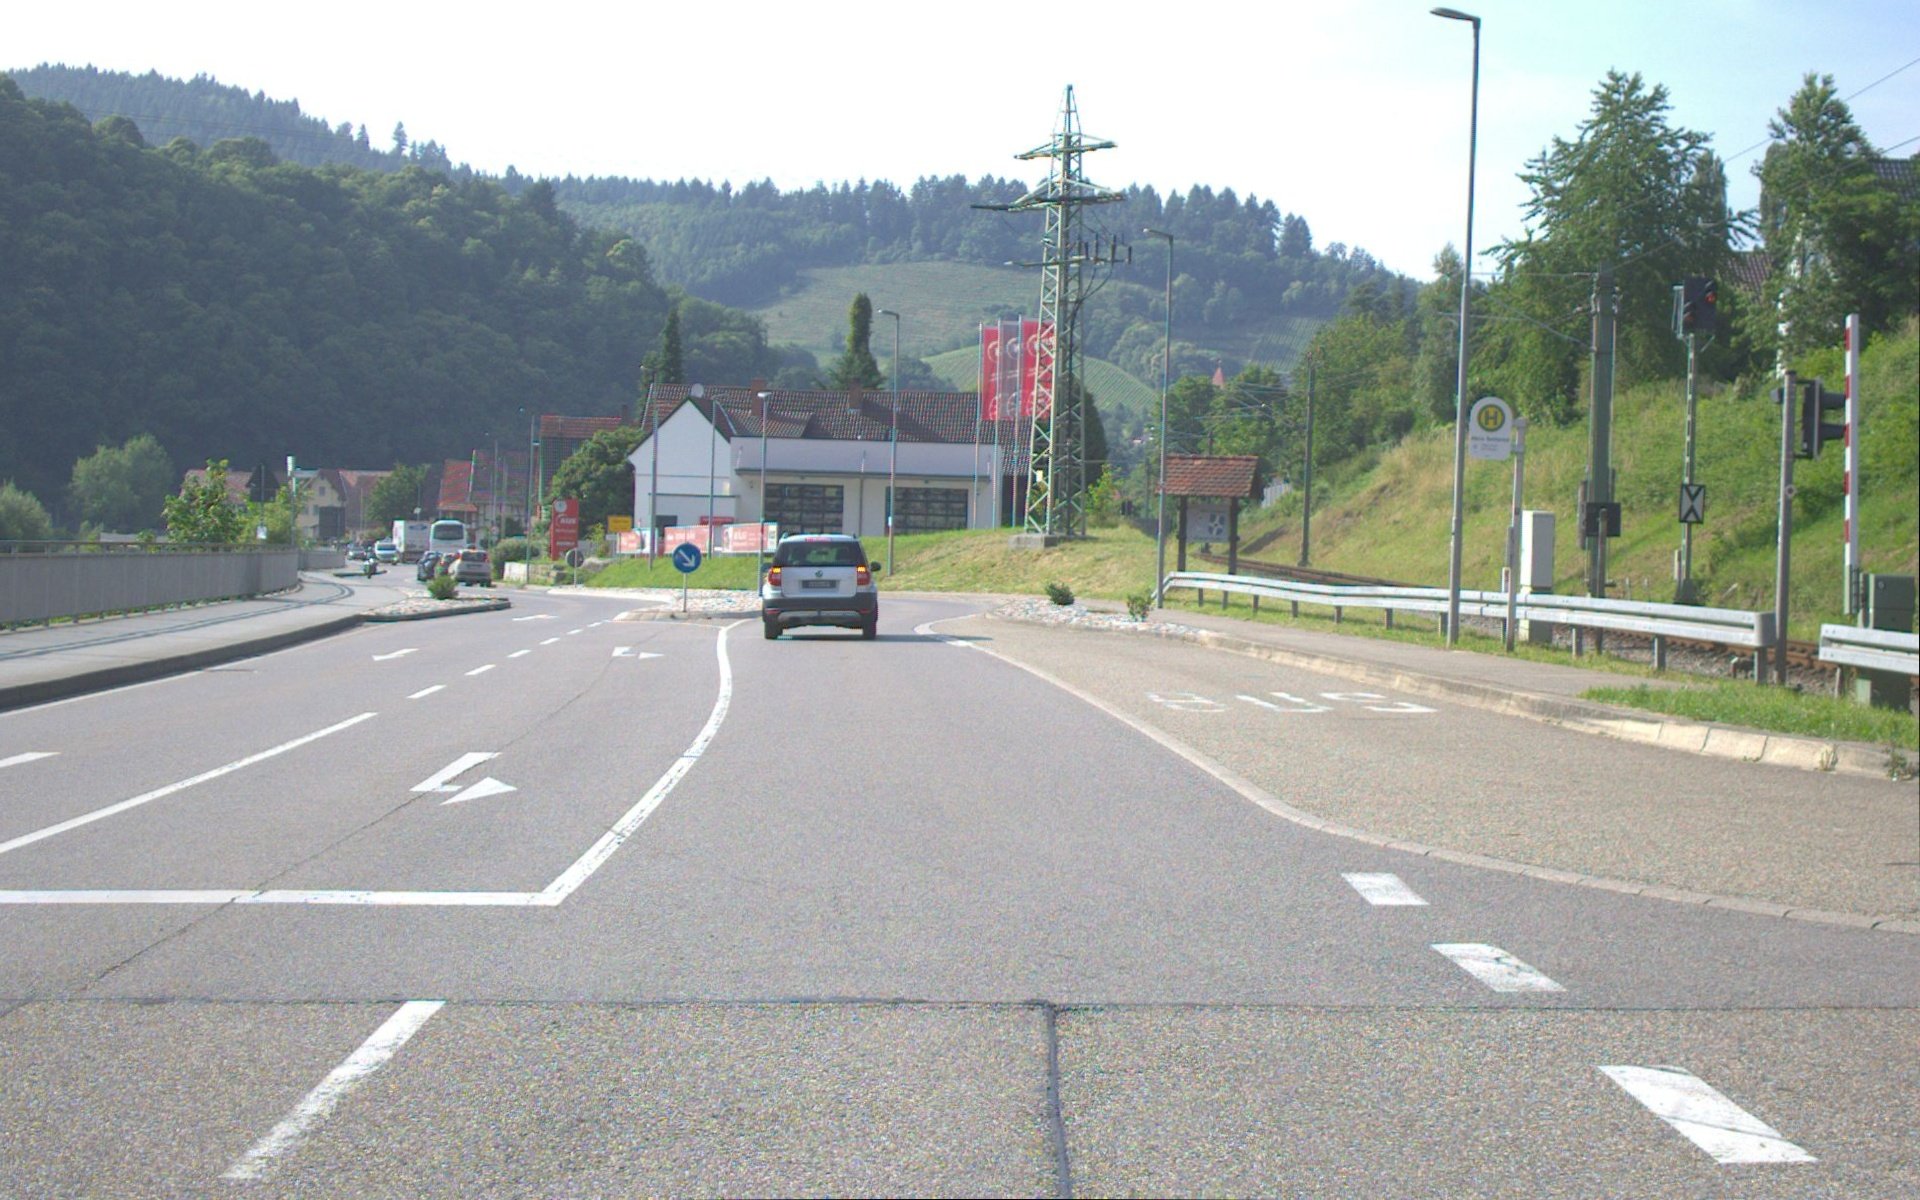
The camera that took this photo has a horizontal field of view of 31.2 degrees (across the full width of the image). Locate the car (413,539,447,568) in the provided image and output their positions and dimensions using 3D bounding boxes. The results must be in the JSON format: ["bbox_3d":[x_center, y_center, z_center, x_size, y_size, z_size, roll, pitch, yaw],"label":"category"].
[{"bbox_3d":[-27.152,-2.401,176.015,1.232,1.430,2.641,-1,2,-20],"label":"car"}]

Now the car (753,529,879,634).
[{"bbox_3d":[-2.333,-0.307,54.787,1.860,1.539,4.374,2,0,-4],"label":"car"}]

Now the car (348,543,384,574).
[{"bbox_3d":[-32.333,-2.242,187.043,1.668,1.544,3.704,2,2,-7],"label":"car"}]

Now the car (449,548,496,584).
[{"bbox_3d":[-21.143,-1.465,149.053,1.453,1.430,2.937,2,2,-19],"label":"car"}]

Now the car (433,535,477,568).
[{"bbox_3d":[-24.010,-2.310,163.300,1.453,1.430,2.937,2,2,-20],"label":"car"}]
